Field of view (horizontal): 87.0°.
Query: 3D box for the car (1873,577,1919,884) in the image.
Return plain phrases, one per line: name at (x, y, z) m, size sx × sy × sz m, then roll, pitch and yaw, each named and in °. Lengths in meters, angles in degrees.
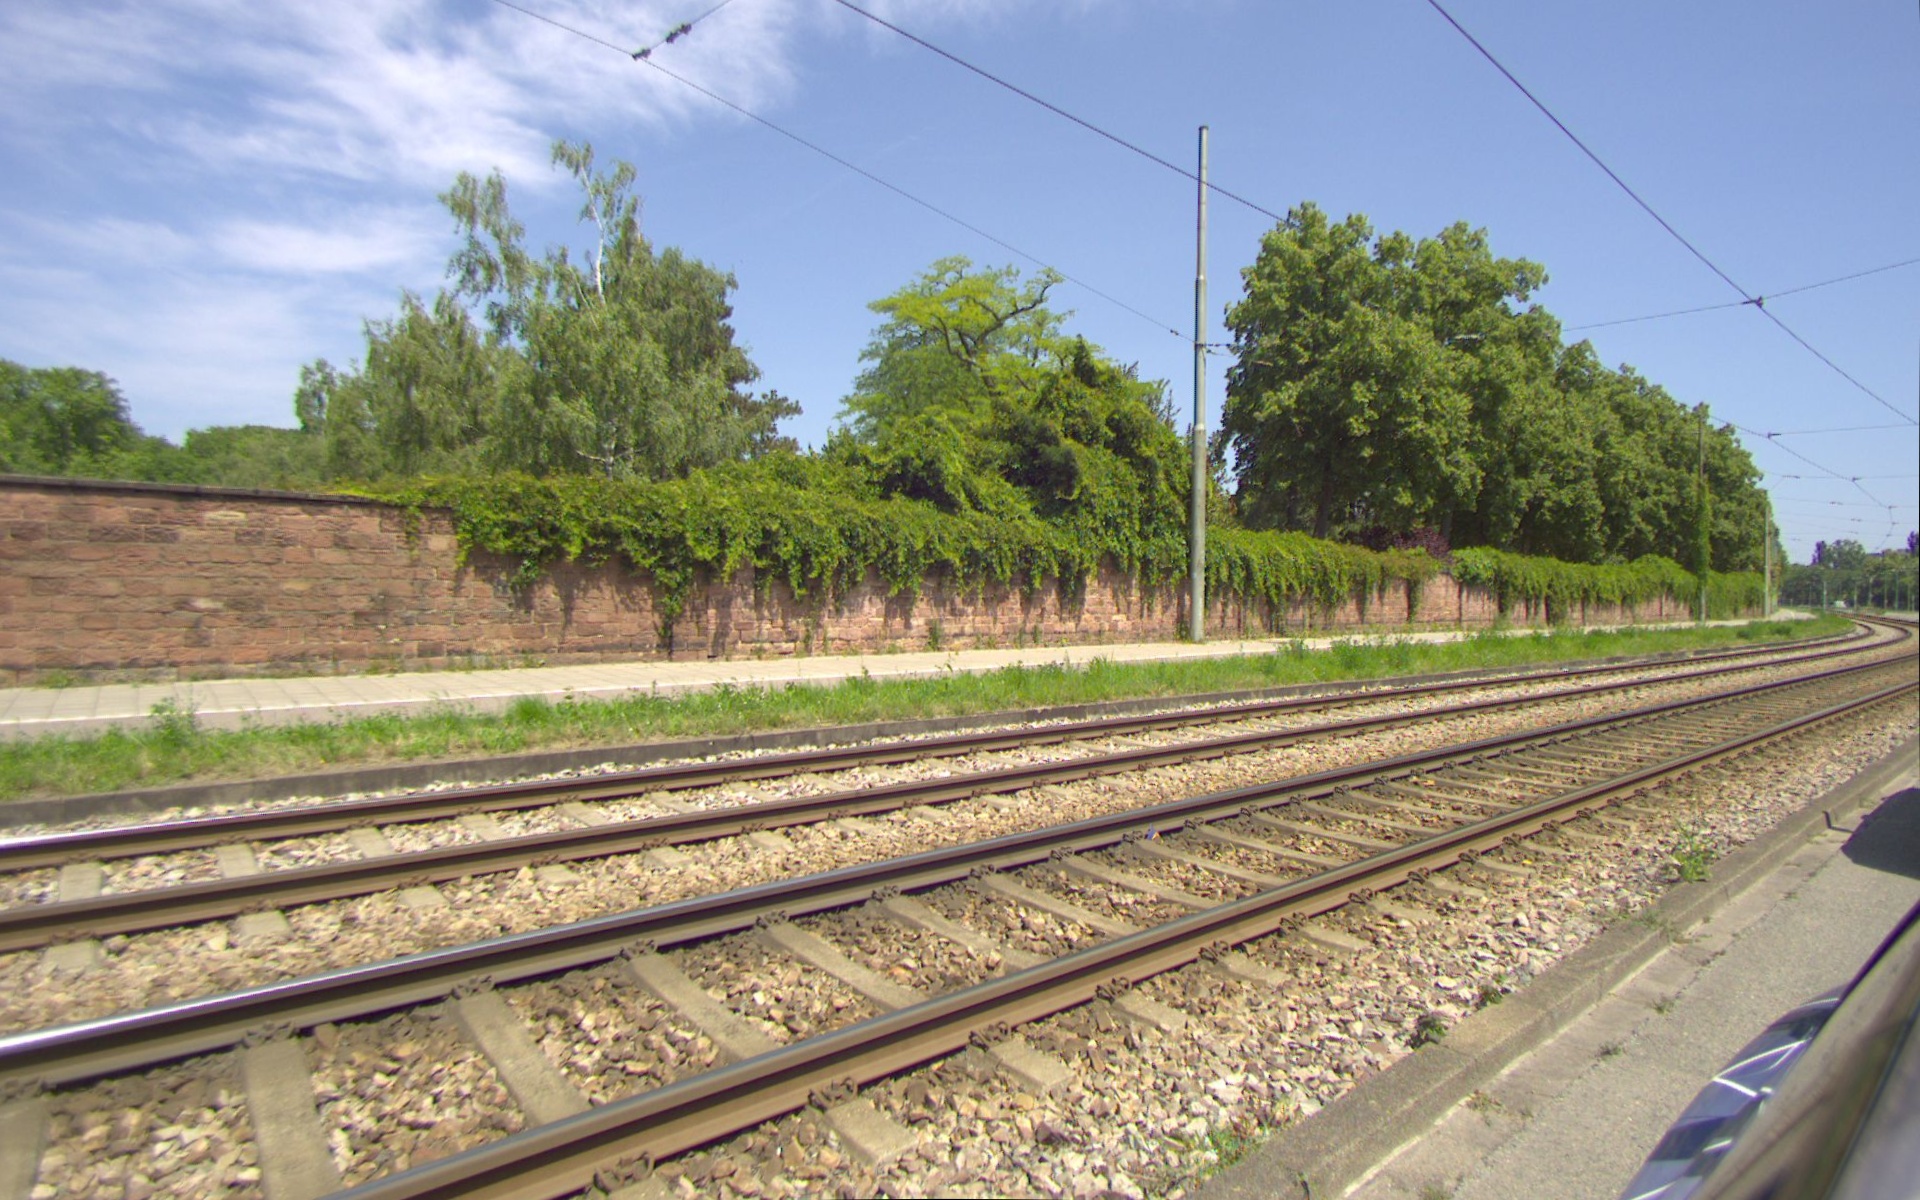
car at (6.958, 0.659, 5.696) m, size 3.927 × 1.563 × 2.062 m, roll 0°, pitch -2°, yaw -38°
